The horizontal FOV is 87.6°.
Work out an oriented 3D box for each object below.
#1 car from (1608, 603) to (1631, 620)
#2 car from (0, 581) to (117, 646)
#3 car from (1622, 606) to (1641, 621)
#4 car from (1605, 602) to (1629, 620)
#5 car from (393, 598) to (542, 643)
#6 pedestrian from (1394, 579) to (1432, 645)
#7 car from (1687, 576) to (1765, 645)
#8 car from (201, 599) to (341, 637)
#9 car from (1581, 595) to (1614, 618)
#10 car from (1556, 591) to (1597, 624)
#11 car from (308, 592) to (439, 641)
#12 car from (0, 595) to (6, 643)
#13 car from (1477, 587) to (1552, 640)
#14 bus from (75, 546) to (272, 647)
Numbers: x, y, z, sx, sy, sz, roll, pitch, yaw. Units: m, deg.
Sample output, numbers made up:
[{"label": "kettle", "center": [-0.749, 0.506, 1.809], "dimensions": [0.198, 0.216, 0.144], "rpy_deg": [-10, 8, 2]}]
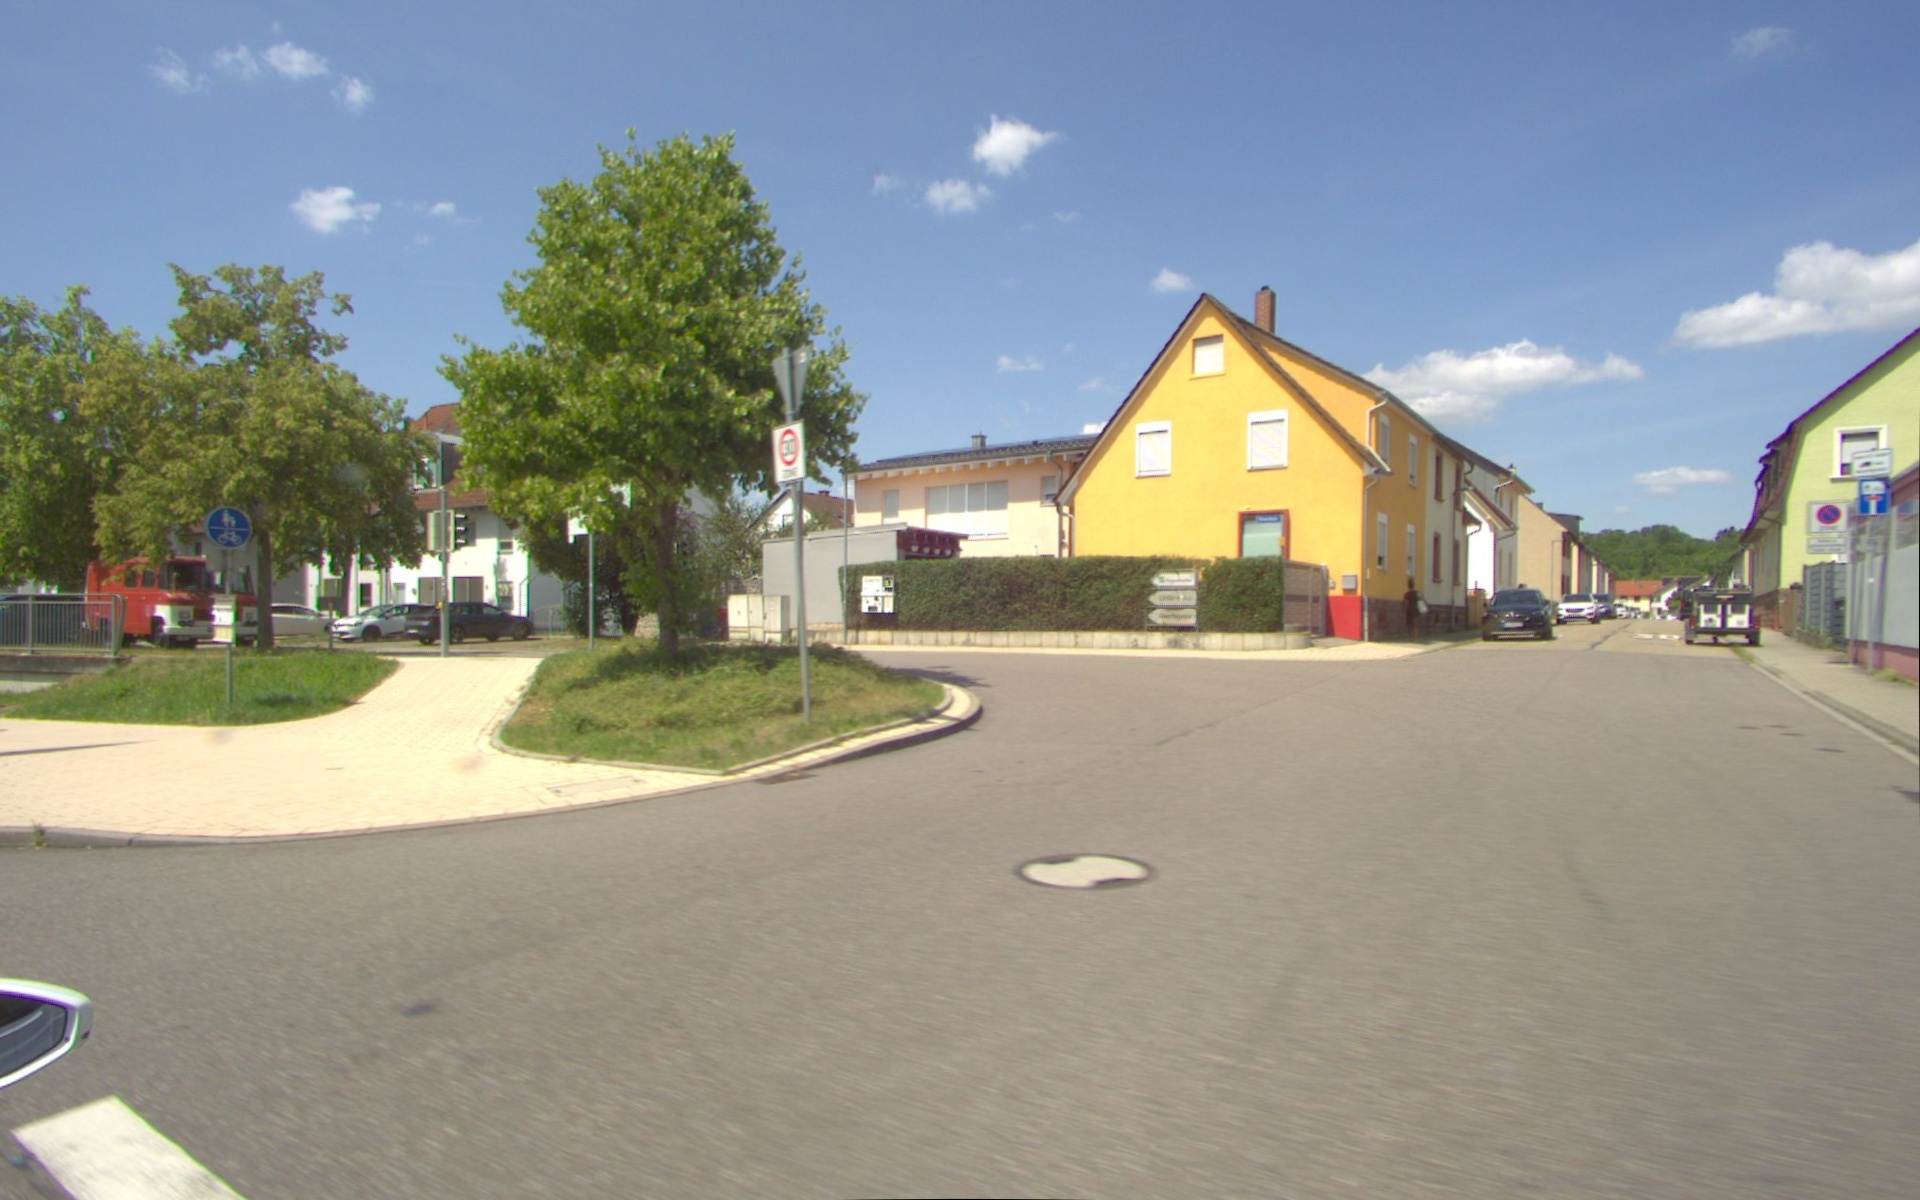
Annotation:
[{"label": "car", "center": [60.258, 1.078, 91.527], "dimensions": [1.622, 1.461, 3.773], "rpy_deg": [-1, -2, 35]}, {"label": "car", "center": [-26.693, 0.404, 28.310], "dimensions": [1.832, 1.649, 3.994], "rpy_deg": [-3, -4, 21]}, {"label": "car", "center": [72.271, 1.446, 107.766], "dimensions": [1.622, 1.461, 3.773], "rpy_deg": [-1, -2, 35]}, {"label": "car", "center": [57.291, 0.969, 87.245], "dimensions": [1.622, 1.461, 3.773], "rpy_deg": [-1, -2, 35]}, {"label": "car", "center": [-17.603, 0.690, 35.976], "dimensions": [1.970, 1.499, 4.477], "rpy_deg": [0, 0, 31]}, {"label": "pedestrian", "center": [12.629, 0.321, 27.886], "dimensions": [0.681, 1.772, 0.869], "rpy_deg": [6, 4, 34]}, {"label": "car", "center": [22.053, 0.359, 28.940], "dimensions": [1.622, 1.851, 3.976], "rpy_deg": [-1, -2, 35]}, {"label": "car", "center": [-28.810, 0.701, 42.017], "dimensions": [1.970, 1.499, 4.477], "rpy_deg": [0, 0, 31]}, {"label": "car", "center": [42.691, 0.463, 67.023], "dimensions": [1.622, 1.461, 3.773], "rpy_deg": [-1, -2, 35]}, {"label": "car", "center": [32.590, 0.447, 52.915], "dimensions": [1.622, 1.646, 3.773], "rpy_deg": [-1, -2, 35]}, {"label": "car", "center": [-22.328, 0.688, 38.277], "dimensions": [1.836, 1.649, 3.985], "rpy_deg": [-4, -4, 29]}, {"label": "car", "center": [-31.014, 0.538, 29.472], "dimensions": [1.700, 1.446, 3.980], "rpy_deg": [-1, -2, 33]}, {"label": "car", "center": [17.442, 0.472, 31.442], "dimensions": [1.622, 1.558, 3.976], "rpy_deg": [-1, -2, 35]}, {"label": "bus", "center": [-20.580, -0.102, 26.159], "dimensions": [5.282, 2.398, 2.186], "rpy_deg": [1, 1, 29]}]
